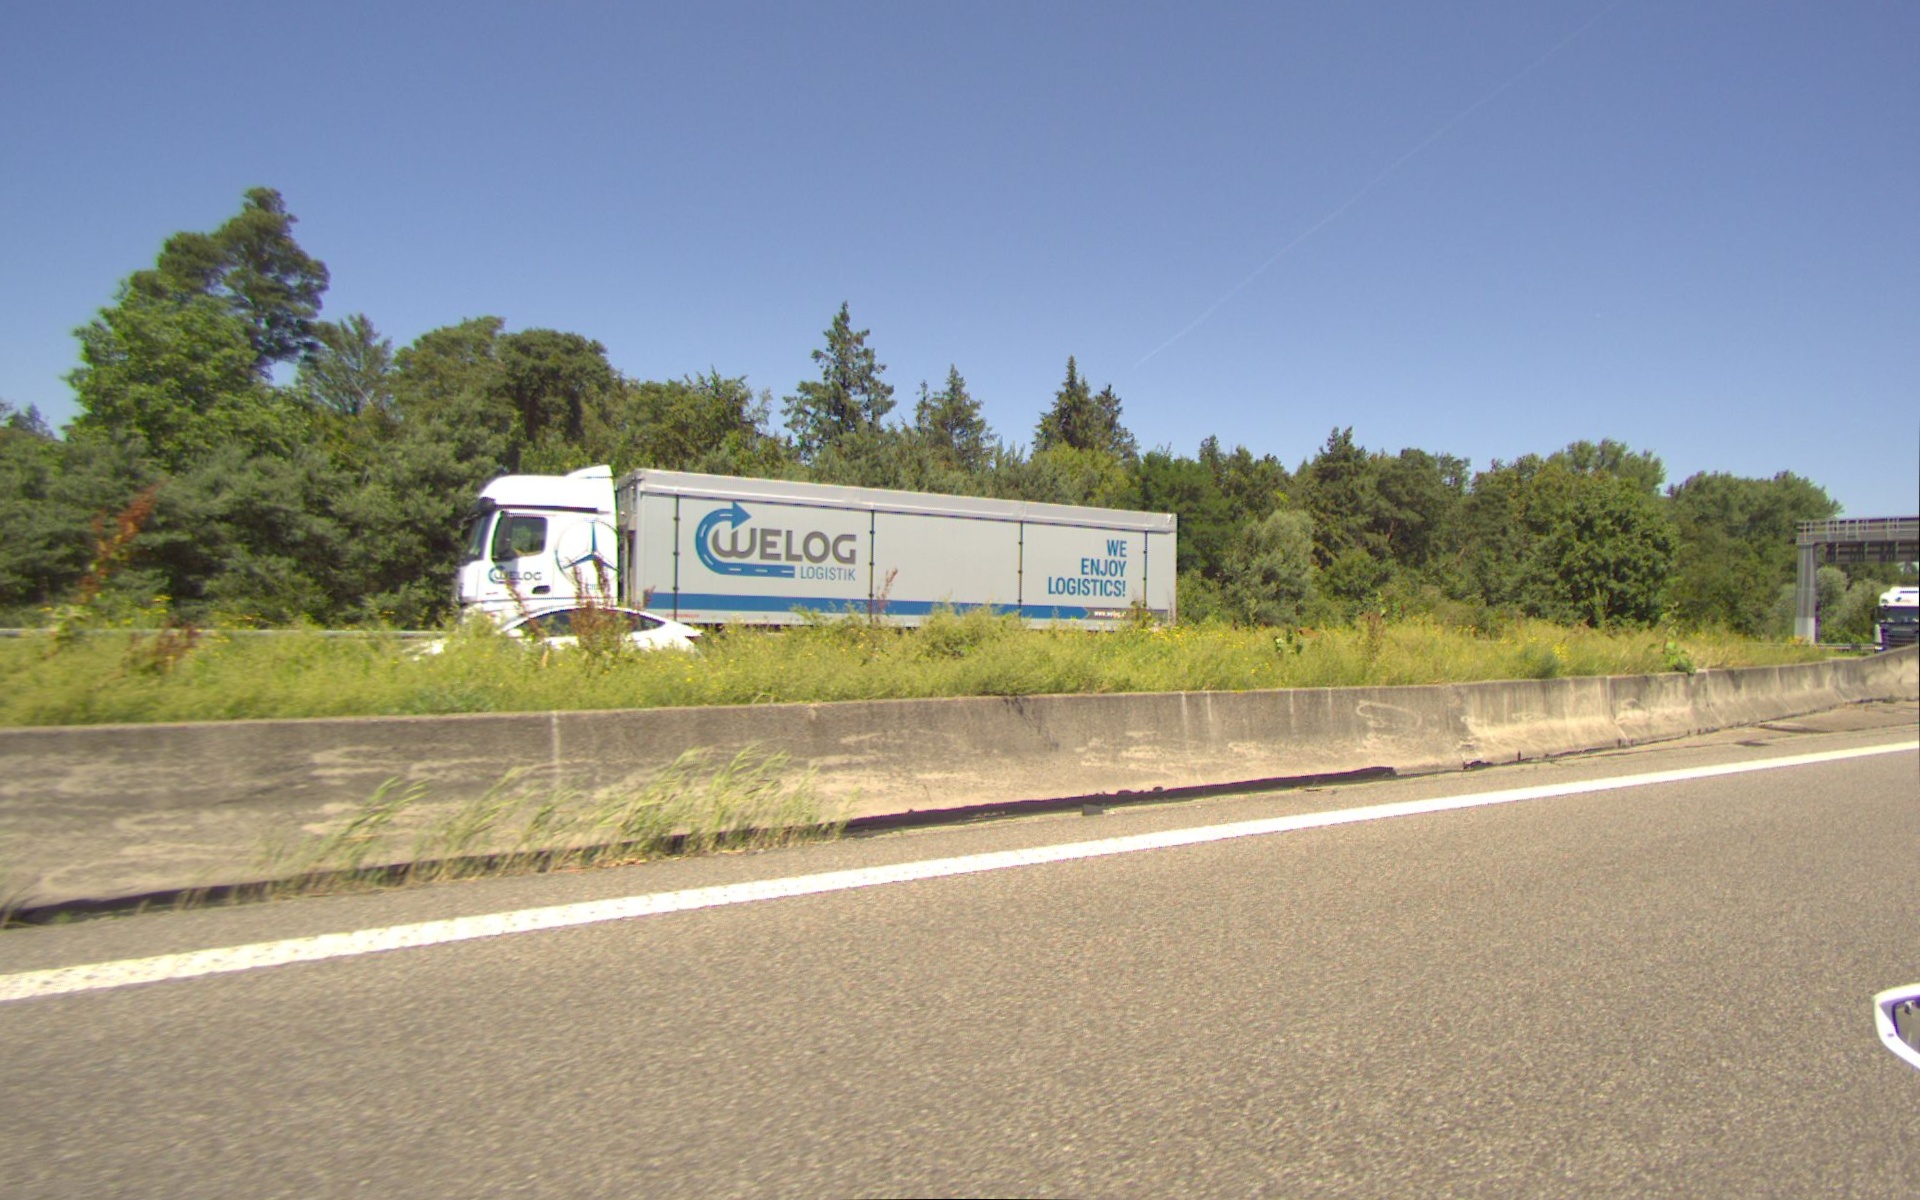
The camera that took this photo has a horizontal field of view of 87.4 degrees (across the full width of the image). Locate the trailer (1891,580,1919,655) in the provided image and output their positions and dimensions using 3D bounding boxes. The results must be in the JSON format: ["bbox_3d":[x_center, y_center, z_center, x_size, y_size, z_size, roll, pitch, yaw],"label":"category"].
[{"bbox_3d":[57.648,1.125,58.045,10.314,4.102,2.792,2,3,-32],"label":"trailer"}]

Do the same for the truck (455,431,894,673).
[{"bbox_3d":[-5.660,-0.751,20.478,8.097,4.131,2.970,1,0,-31],"label":"truck"}]

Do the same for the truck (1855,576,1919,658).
[{"bbox_3d":[52.015,0.961,54.517,7.643,4.102,2.792,2,3,-31],"label":"truck"}]

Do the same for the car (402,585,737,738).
[{"bbox_3d":[-5.946,0.864,15.411,4.533,2.040,1.984,1,0,-30],"label":"car"}]

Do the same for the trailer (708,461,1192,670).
[{"bbox_3d":[0.165,-0.570,24.052,11.637,4.131,2.970,1,0,-31],"label":"trailer"}]
